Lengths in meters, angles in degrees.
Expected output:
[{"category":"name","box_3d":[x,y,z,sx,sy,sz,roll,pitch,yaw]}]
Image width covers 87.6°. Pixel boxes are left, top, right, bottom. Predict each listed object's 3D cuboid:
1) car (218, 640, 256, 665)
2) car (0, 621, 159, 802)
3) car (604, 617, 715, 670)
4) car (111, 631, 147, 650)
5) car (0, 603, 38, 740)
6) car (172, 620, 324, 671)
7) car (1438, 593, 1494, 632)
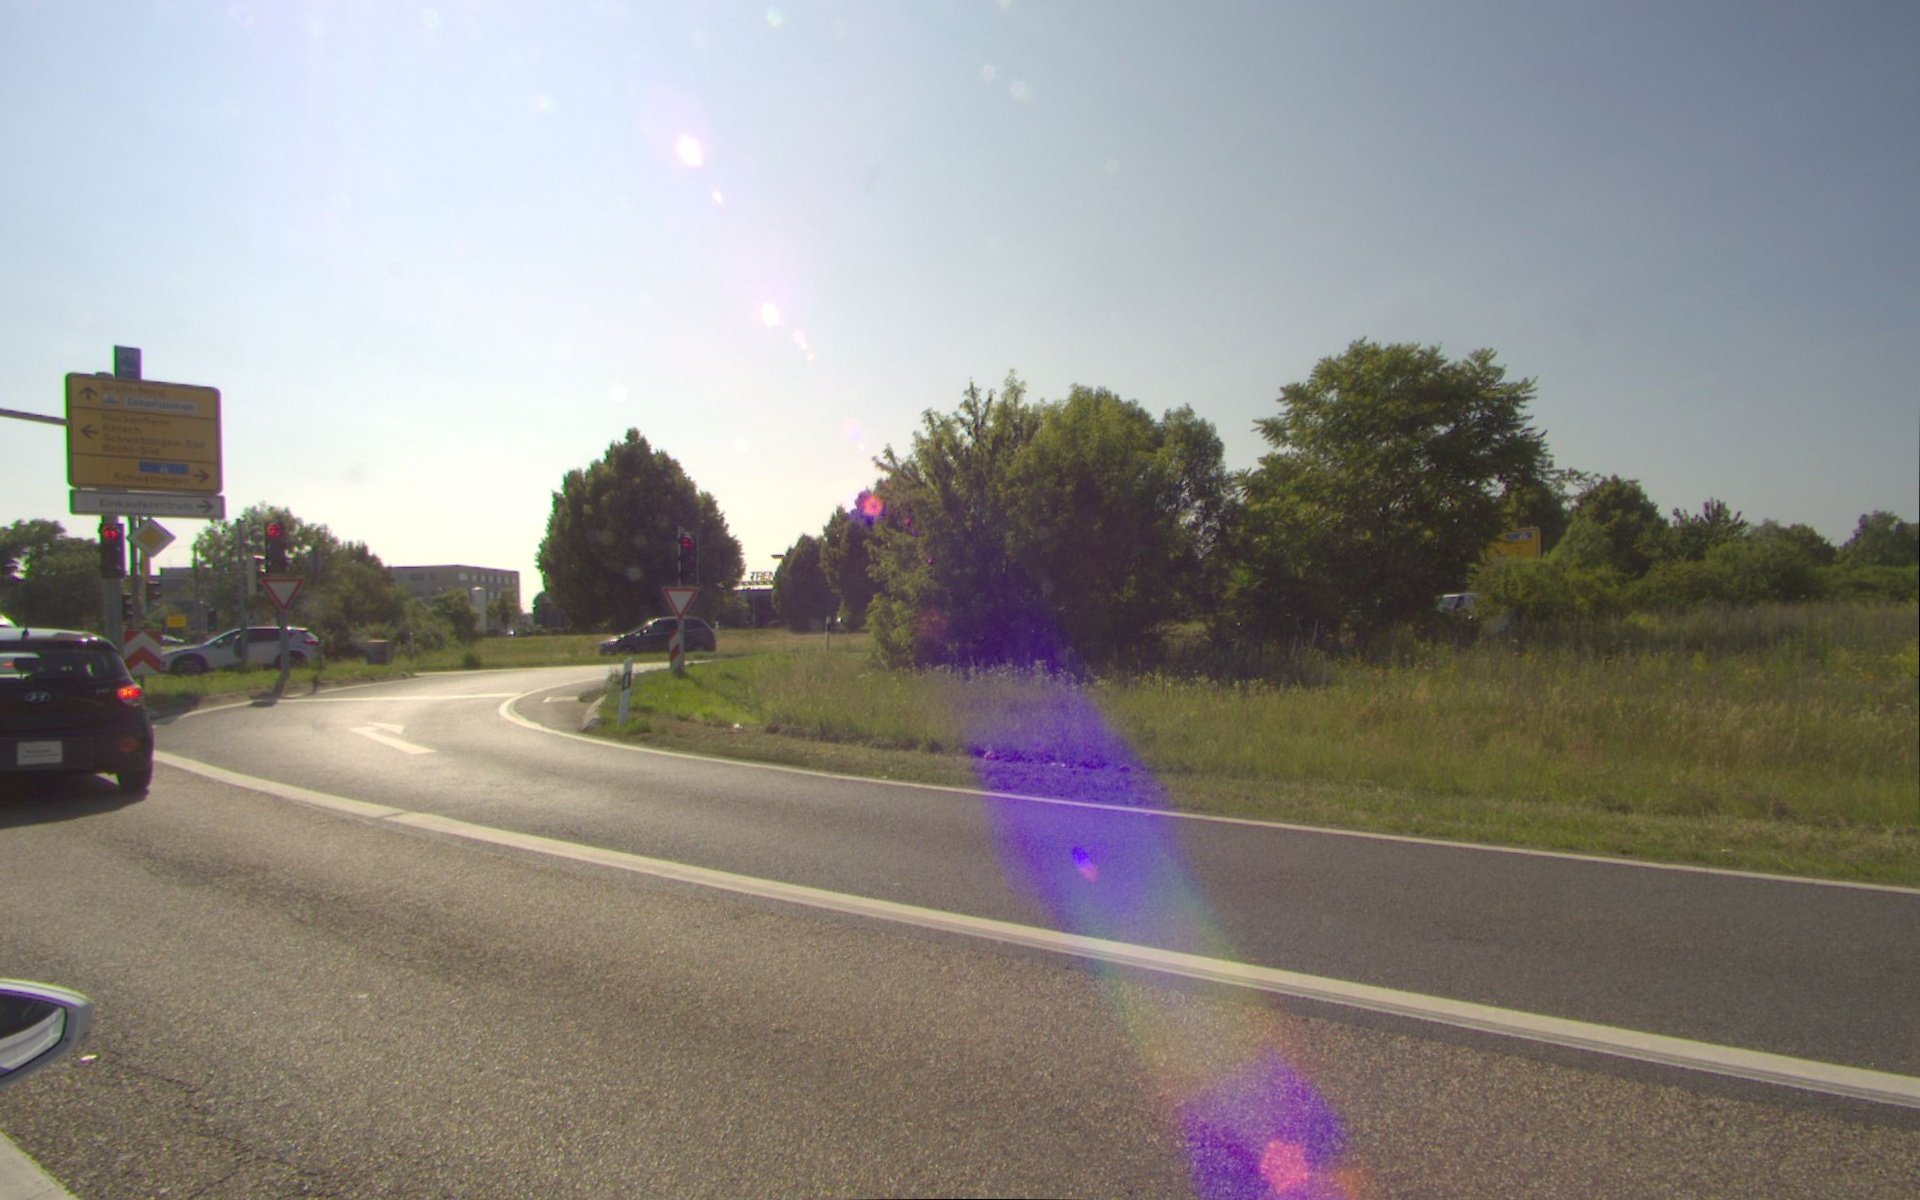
[{"category":"car","box_3d":[-51.747,3.744,71.719,1.857,1.694,3.750,1,-3,-32]},{"category":"car","box_3d":[-8.911,0.937,9.337,3.255,1.467,1.626,-1,-2,39]},{"category":"car","box_3d":[-11.805,1.674,39.383,3.960,1.978,1.689,0,-1,-28]},{"category":"car","box_3d":[-77.720,3.796,93.717,1.855,1.694,3.753,1,-2,-28]},{"category":"car","box_3d":[-13.679,0.922,13.293,3.705,1.698,1.626,-2,-2,39]},{"category":"car","box_3d":[-23.525,1.465,33.287,3.981,1.539,1.797,0,-1,-32]},{"category":"car","box_3d":[33.510,0.836,66.275,3.851,2.467,1.455,1,-2,-30]}]
